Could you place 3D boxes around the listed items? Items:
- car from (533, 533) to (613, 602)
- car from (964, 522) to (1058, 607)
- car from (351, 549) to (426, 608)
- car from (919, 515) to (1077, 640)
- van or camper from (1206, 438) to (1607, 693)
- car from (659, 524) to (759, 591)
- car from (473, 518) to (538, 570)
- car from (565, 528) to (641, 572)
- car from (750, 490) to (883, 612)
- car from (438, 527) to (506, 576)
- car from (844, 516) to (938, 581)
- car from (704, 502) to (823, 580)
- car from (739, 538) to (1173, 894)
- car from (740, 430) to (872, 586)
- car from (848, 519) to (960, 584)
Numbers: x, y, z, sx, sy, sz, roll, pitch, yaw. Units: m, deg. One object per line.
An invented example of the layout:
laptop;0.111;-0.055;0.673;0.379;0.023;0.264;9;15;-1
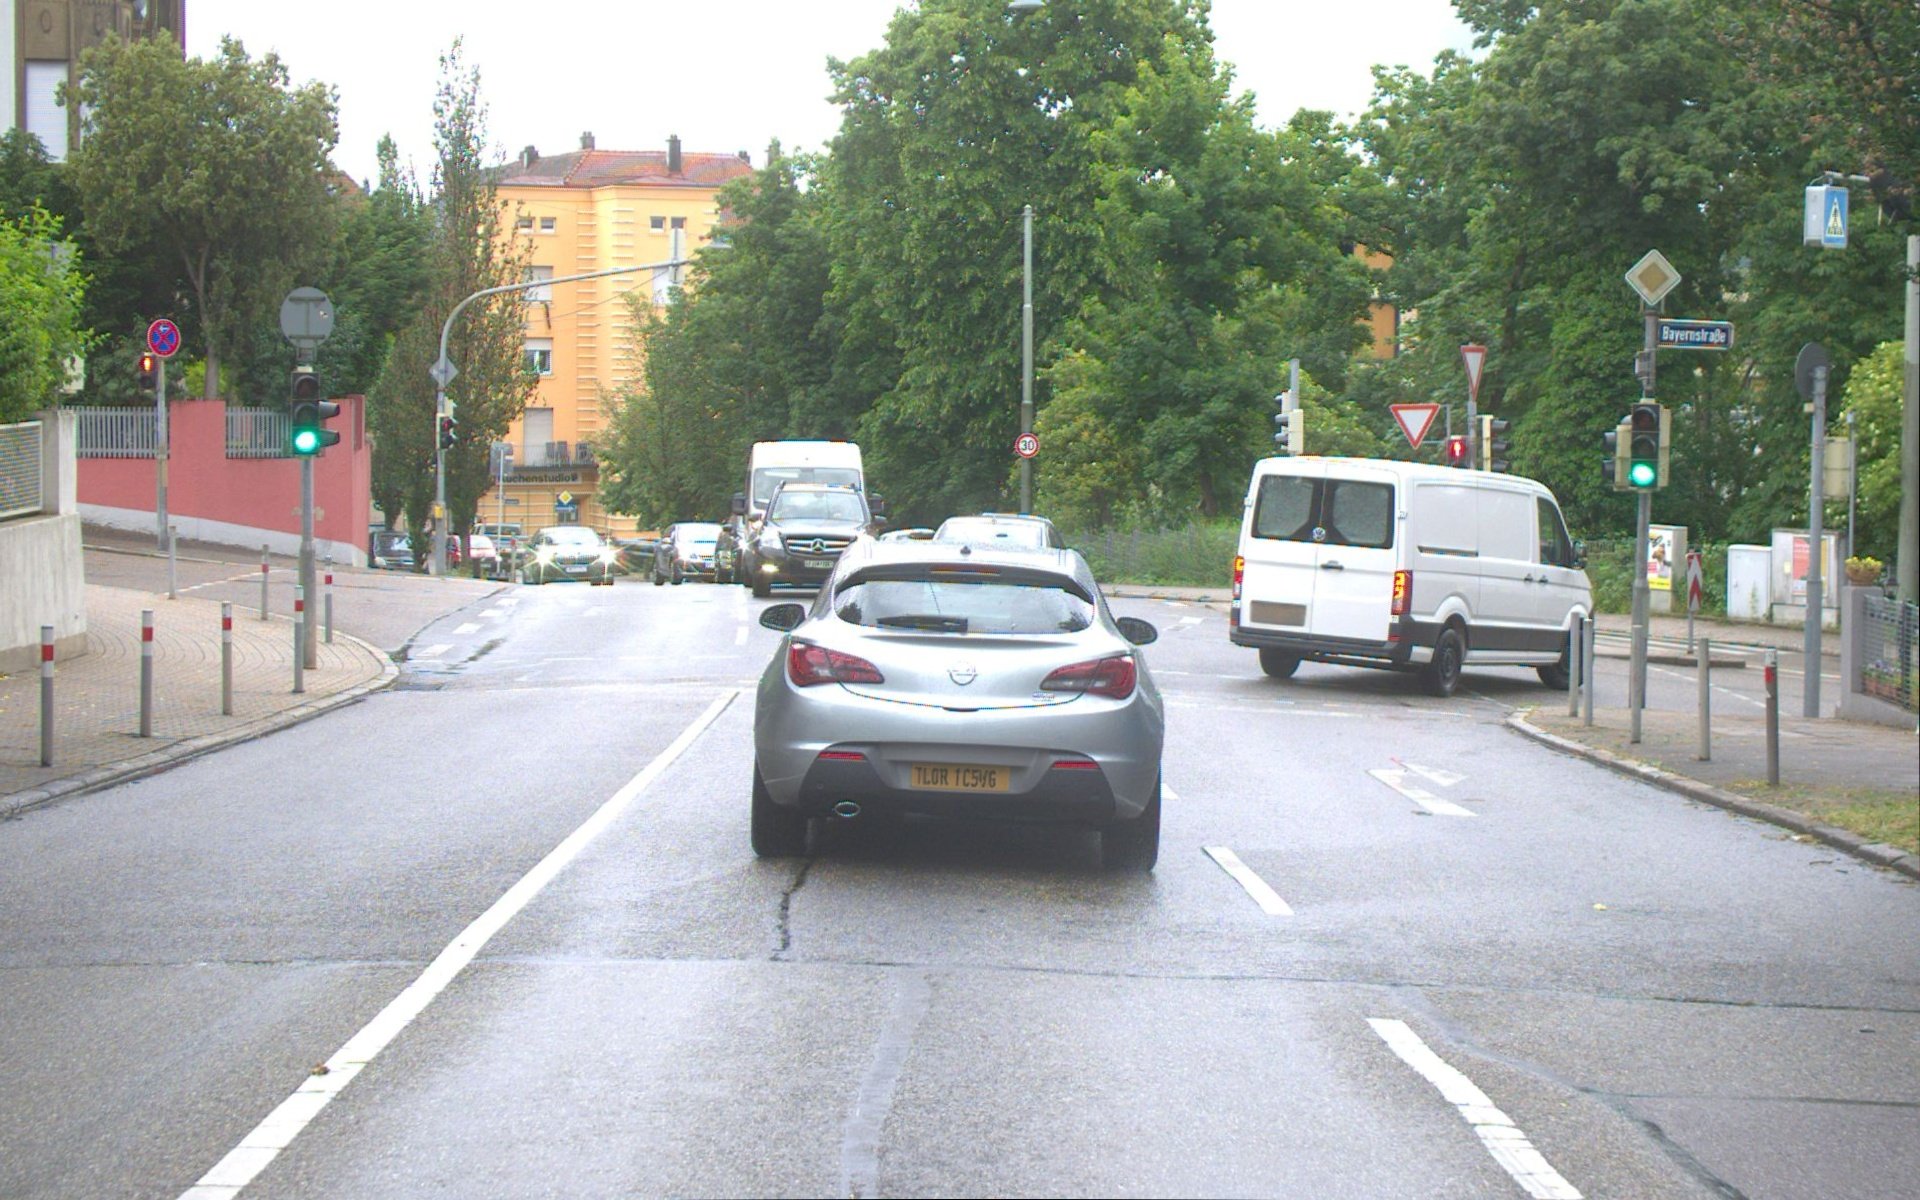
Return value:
car;-9.302;-0.801;82.845;1.852;1.481;5.369;0;2;-6
car;0.853;-0.630;59.334;1.383;1.407;3.457;0;1;-3
car;-16.432;-0.608;98.768;1.814;1.607;4.001;1;0;-13
car;0.413;-0.258;41.039;1.776;1.425;3.786;0;0;-1
van or camper;4.836;-0.354;36.411;2.108;2.317;5.408;7;3;29
car;-6.019;-1.014;82.044;1.773;1.492;4.264;2;0;-12
car;-16.962;-2.059;128.216;1.781;1.848;4.001;1;0;-17
car;-13.402;-1.856;128.922;1.814;1.462;4.001;-5;2;-20
car;-2.128;-0.749;50.297;1.821;1.646;4.347;2;2;-3
car;-17.008;-1.690;119.689;1.845;1.578;4.280;3;0;-13
car;-1.662;-1.201;81.237;1.620;1.481;3.437;0;0;-12
car;-4.164;-1.223;72.182;1.874;1.569;4.587;0;1;-11
car;-0.039;0.458;16.589;1.815;1.425;4.001;1;2;-1
car;-2.685;-1.535;58.773;2.117;2.537;5.541;0;1;-4
car;-1.497;-1.257;89.757;1.814;1.490;4.001;-5;1;-16
